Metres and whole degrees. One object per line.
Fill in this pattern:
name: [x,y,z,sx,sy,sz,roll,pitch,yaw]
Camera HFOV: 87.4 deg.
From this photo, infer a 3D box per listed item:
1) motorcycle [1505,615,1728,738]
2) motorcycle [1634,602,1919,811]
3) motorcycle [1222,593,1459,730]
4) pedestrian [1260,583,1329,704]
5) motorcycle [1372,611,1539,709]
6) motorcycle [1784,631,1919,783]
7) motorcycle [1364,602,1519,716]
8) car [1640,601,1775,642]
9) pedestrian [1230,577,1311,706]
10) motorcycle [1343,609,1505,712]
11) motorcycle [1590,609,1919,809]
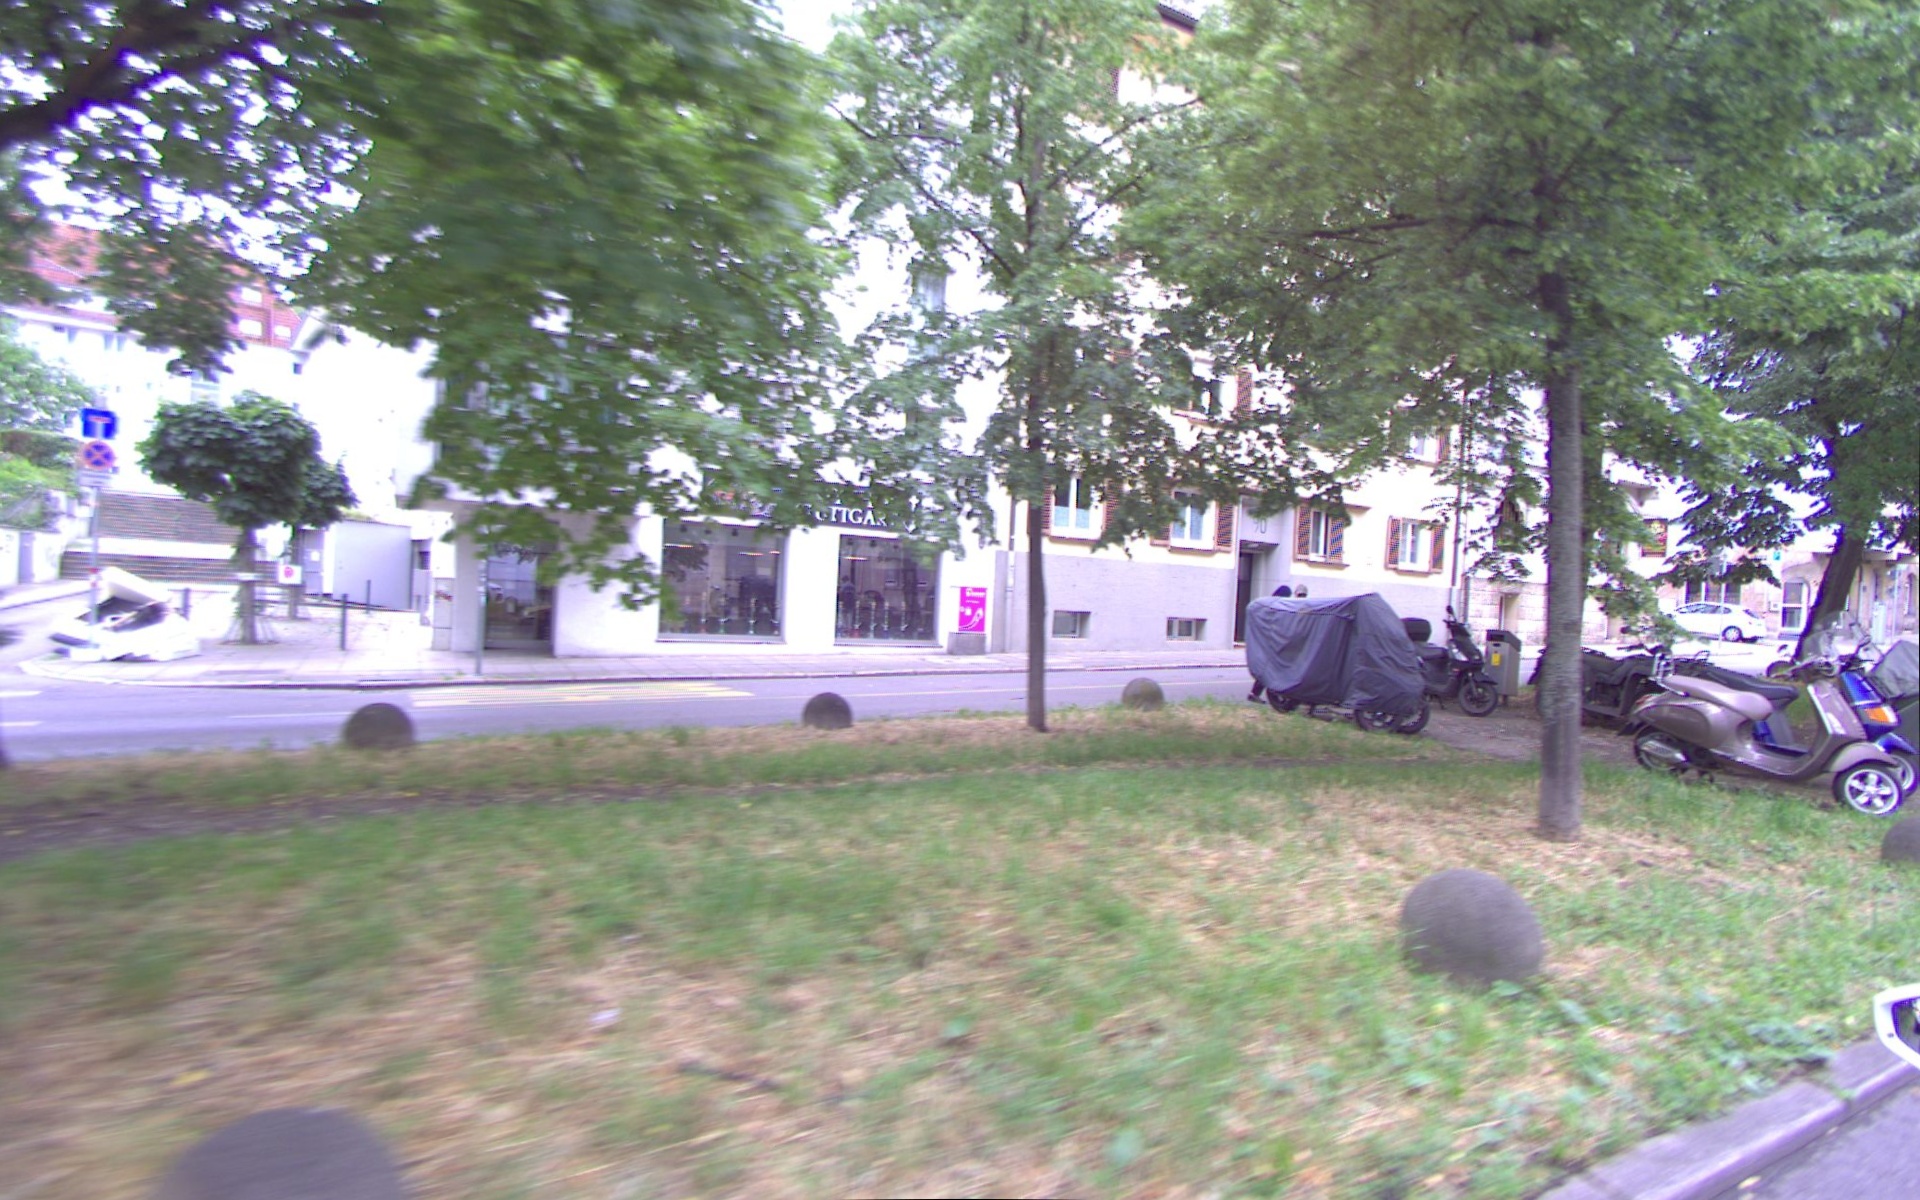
motorcycle: [7.650,0.842,11.828,0.884,1.252,2.023,1,1,-24]
motorcycle: [7.002,0.788,8.316,0.863,1.458,2.185,1,1,-27]
motorcycle: [4.224,0.621,11.380,1.033,1.335,2.370,1,1,-30]
pedestrian: [4.712,0.595,14.162,0.572,1.638,0.660,1,2,-28]
motorcycle: [6.963,0.811,14.245,0.615,1.252,2.121,2,-1,-29]
motorcycle: [8.881,0.970,8.804,1.021,1.252,2.343,0,2,-31]
motorcycle: [6.206,0.725,13.050,0.617,1.356,1.753,1,0,-31]
car: [30.572,0.859,41.193,1.976,1.517,3.968,1,1,-29]
pedestrian: [4.117,0.532,13.327,0.754,1.635,0.632,1,2,-24]
motorcycle: [6.384,0.790,13.947,0.510,1.252,2.098,1,1,-31]
motorcycle: [6.211,0.773,7.890,0.883,1.314,1.914,3,-1,-31]
